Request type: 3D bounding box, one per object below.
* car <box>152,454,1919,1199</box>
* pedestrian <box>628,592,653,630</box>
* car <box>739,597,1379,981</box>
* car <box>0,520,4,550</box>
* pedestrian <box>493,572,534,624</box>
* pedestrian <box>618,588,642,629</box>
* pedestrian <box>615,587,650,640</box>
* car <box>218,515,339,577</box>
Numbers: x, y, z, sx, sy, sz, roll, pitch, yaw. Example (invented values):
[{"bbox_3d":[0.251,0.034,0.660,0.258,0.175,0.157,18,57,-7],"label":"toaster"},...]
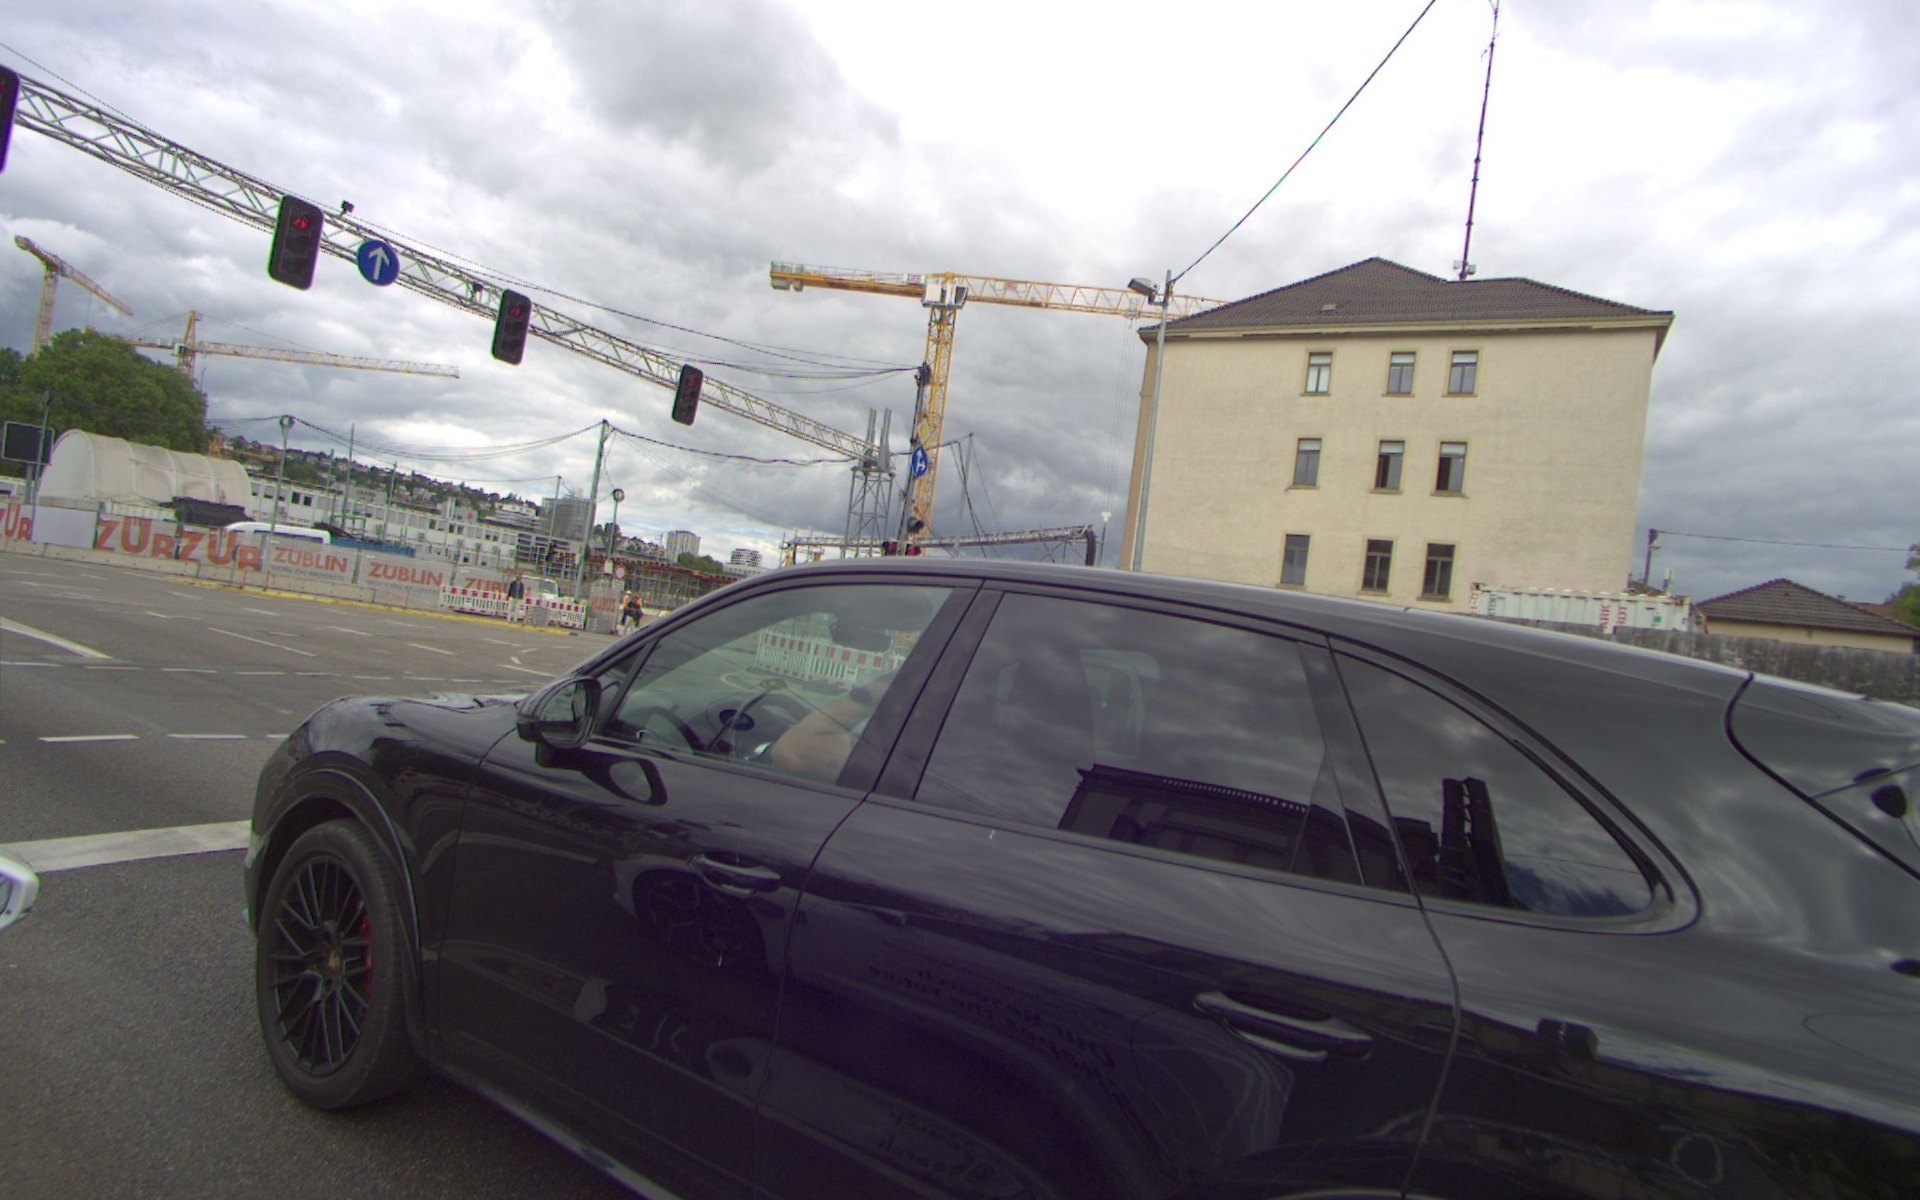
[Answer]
[{"bbox_3d":[-0.004,0.682,2.718,4.505,1.687,1.996,6,-2,34],"label":"car"},{"bbox_3d":[-17.353,0.619,54.679,0.850,1.938,0.680,7,-1,26],"label":"pedestrian"},{"bbox_3d":[0.577,0.992,6.554,3.587,1.527,1.825,6,-2,33],"label":"car"},{"bbox_3d":[-58.717,-4.133,58.465,1.872,1.743,4.167,7,-2,9],"label":"car"},{"bbox_3d":[-17.367,-0.062,39.140,1.040,1.869,0.781,8,-1,-42],"label":"pedestrian"},{"bbox_3d":[-17.645,0.447,53.827,0.855,2.037,0.677,6,-1,44],"label":"pedestrian"},{"bbox_3d":[-13.432,0.552,41.331,1.030,2.037,1.032,7,-1,-13],"label":"pedestrian"},{"bbox_3d":[-29.529,-2.324,43.644,3.976,2.037,1.976,9,-2,-43],"label":"car"}]
